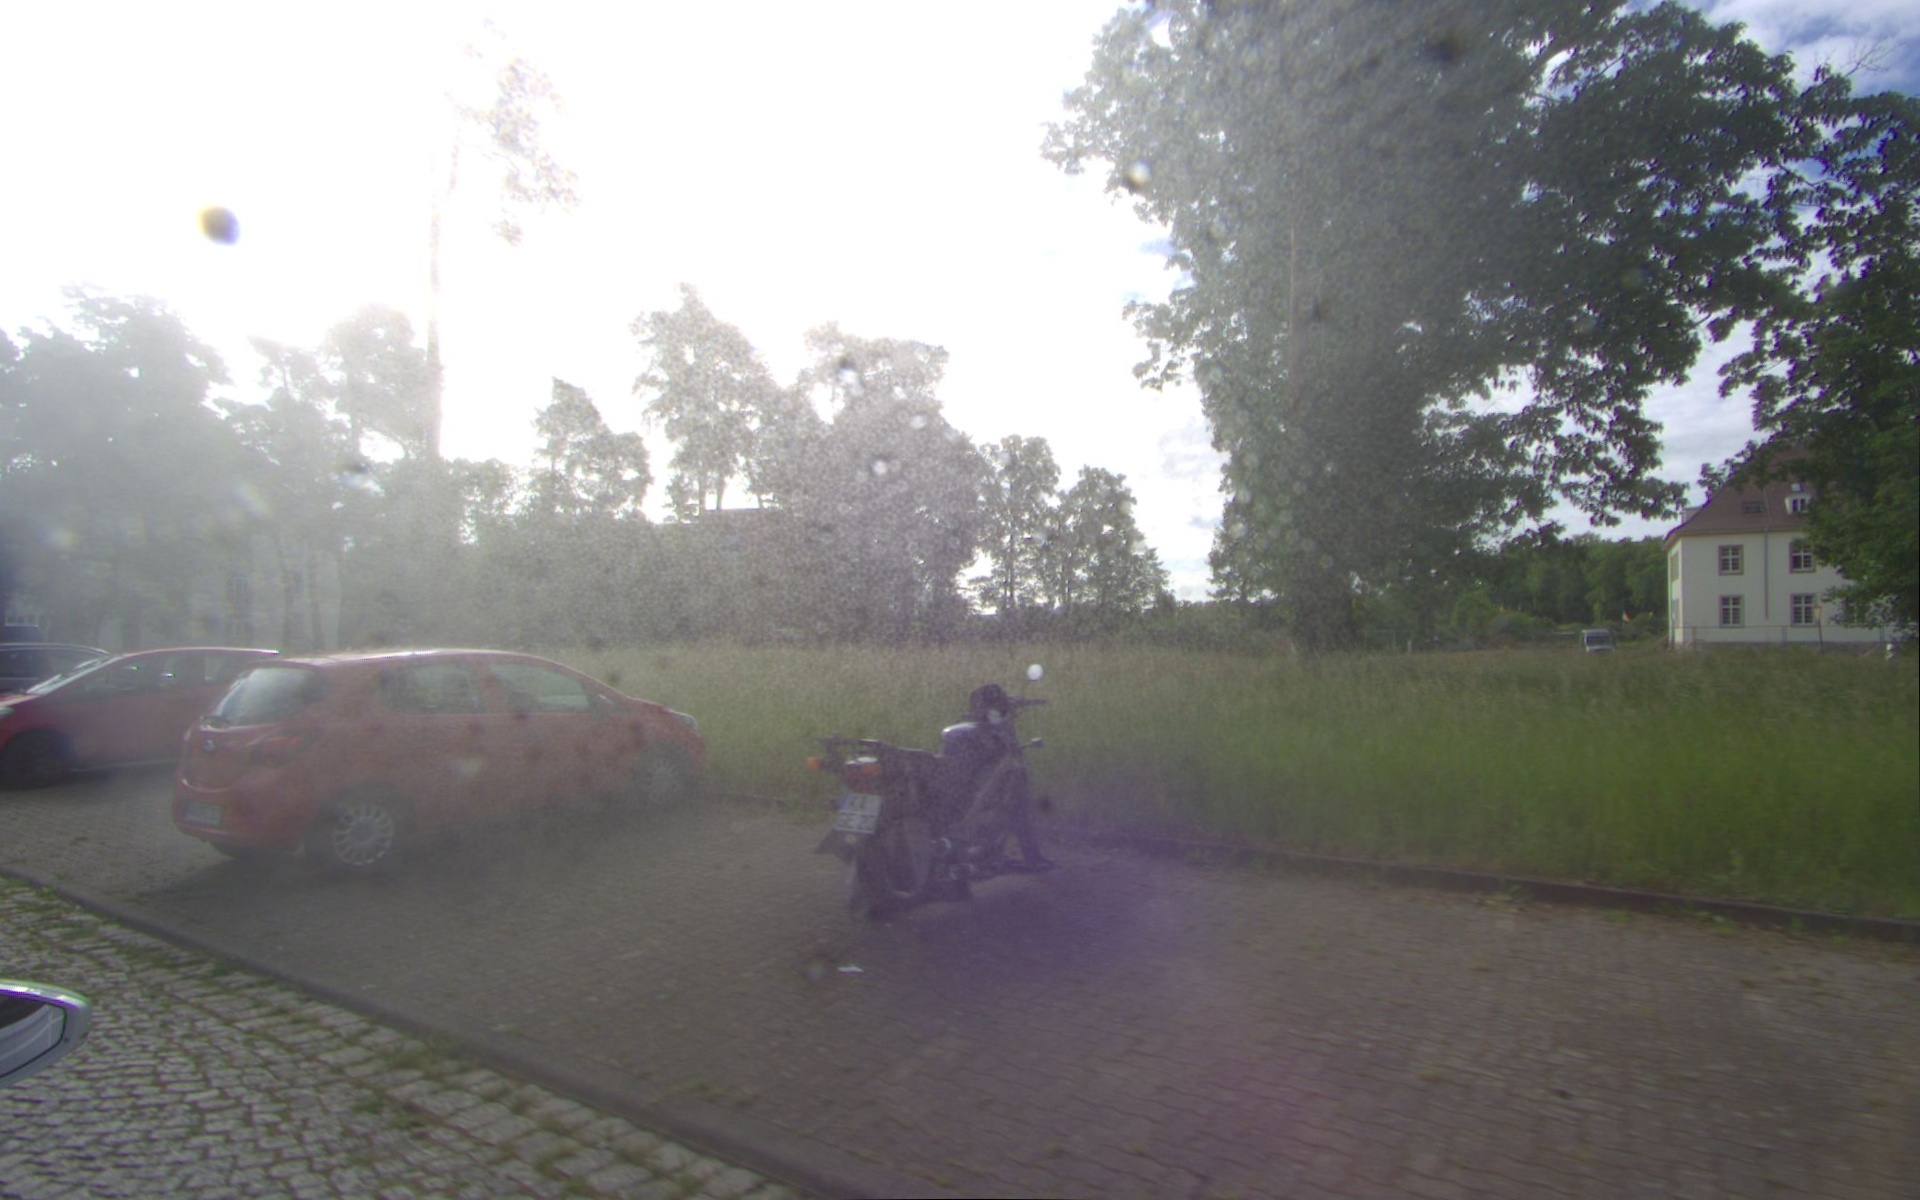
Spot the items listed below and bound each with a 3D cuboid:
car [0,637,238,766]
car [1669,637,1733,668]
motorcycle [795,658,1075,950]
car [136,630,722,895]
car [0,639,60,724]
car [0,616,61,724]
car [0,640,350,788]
[{"bbox_3d":[-12.364,1.305,13.475,1.736,1.600,3.945,-1,-2,31],"label":"car"},{"bbox_3d":[51.829,3.710,70.155,2.447,2.038,5.822,-1,-4,25],"label":"car"},{"bbox_3d":[-0.028,1.016,5.809,0.596,1.291,2.263,-1,-1,28],"label":"motorcycle"},{"bbox_3d":[-3.911,1.026,8.026,1.713,1.525,3.833,-1,-1,32],"label":"car"},{"bbox_3d":[-17.798,1.431,16.781,1.630,1.442,3.717,-1,-1,30],"label":"car"},{"bbox_3d":[-19.752,1.299,18.221,1.712,2.066,4.776,-1,-2,31],"label":"car"},{"bbox_3d":[-10.032,1.272,12.324,1.714,1.538,3.980,-1,-2,33],"label":"car"}]
